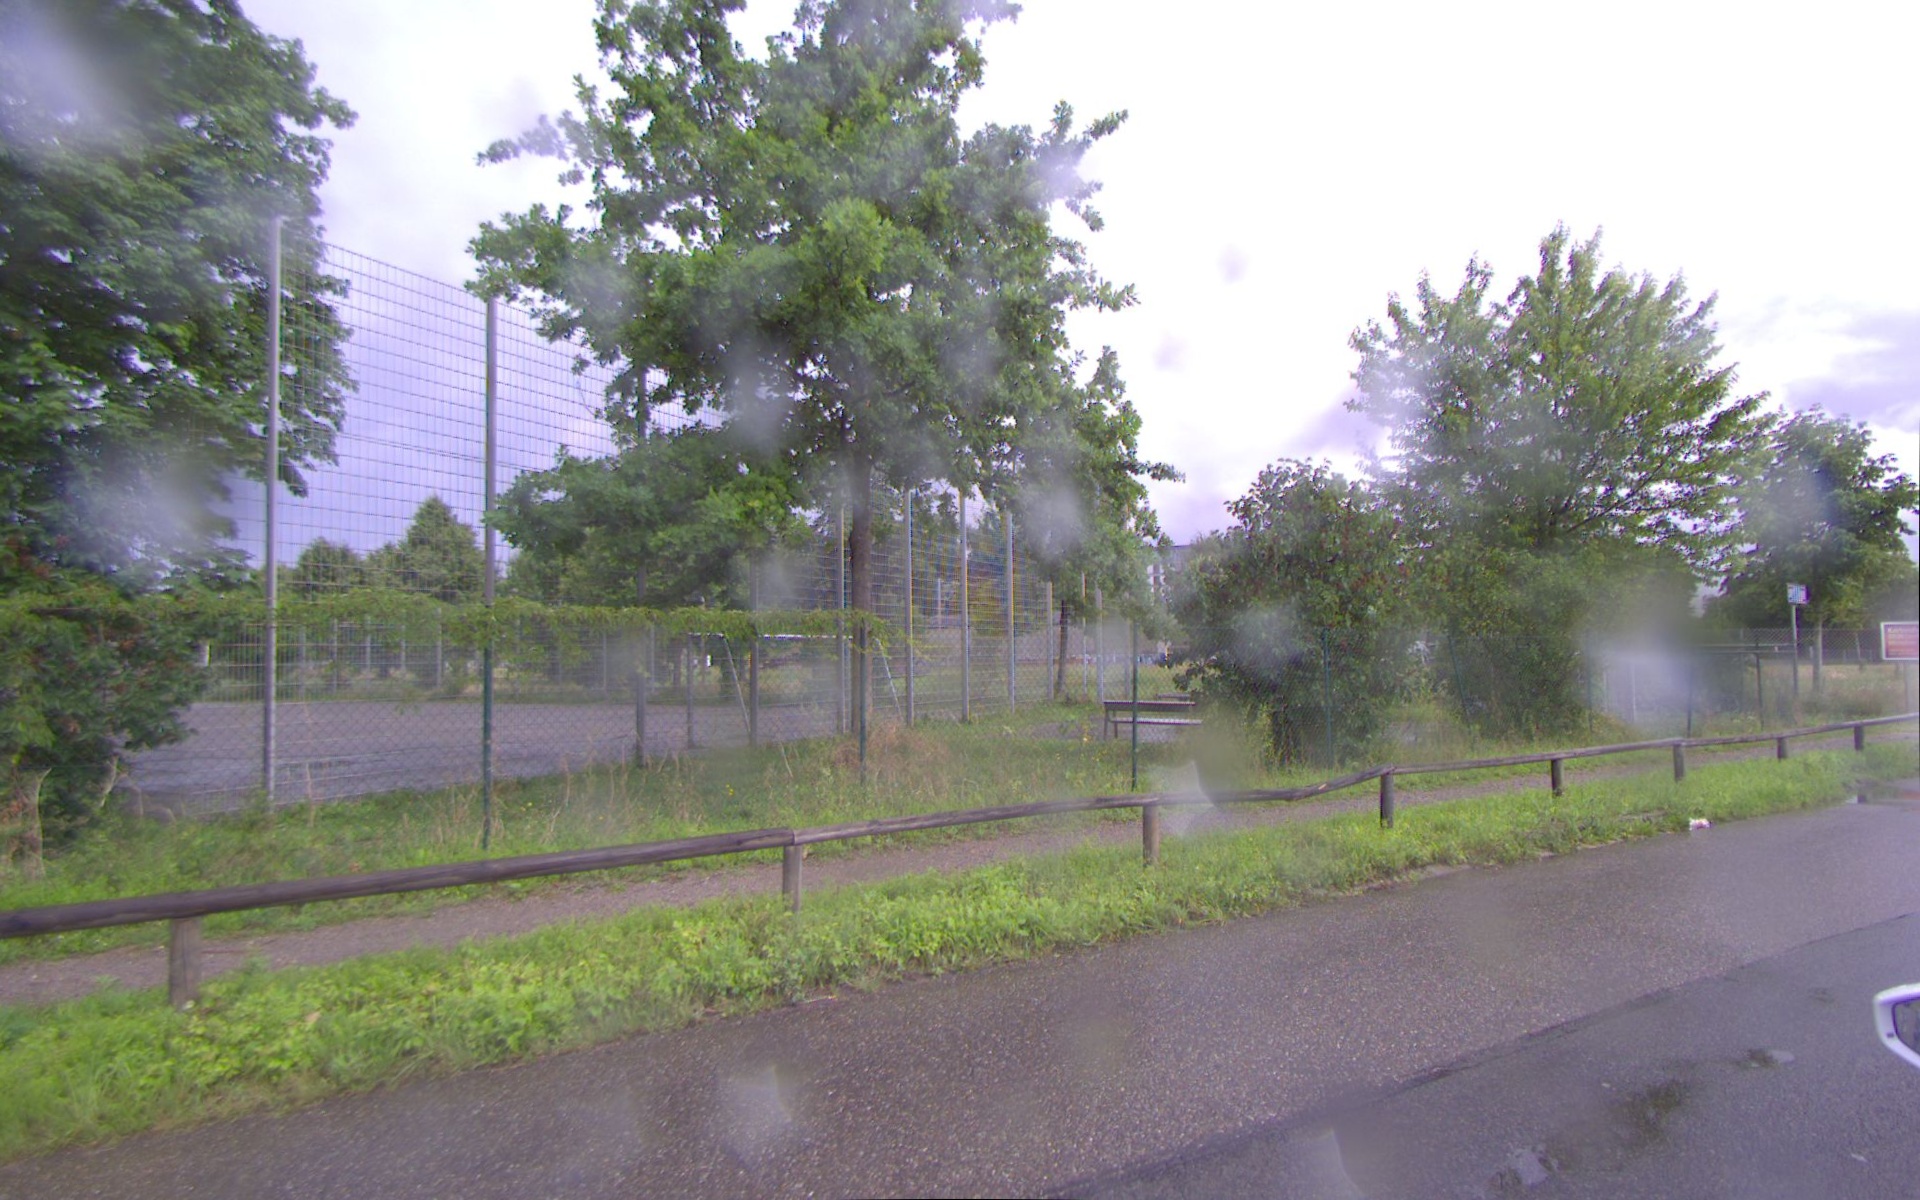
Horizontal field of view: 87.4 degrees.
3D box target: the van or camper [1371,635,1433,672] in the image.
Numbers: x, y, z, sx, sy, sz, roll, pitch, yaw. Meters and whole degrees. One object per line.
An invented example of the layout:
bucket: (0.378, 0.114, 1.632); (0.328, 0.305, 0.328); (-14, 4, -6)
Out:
van or camper: (46.826, 5.689, 106.454); (5.747, 3.792, 2.650); (-3, -3, 29)
